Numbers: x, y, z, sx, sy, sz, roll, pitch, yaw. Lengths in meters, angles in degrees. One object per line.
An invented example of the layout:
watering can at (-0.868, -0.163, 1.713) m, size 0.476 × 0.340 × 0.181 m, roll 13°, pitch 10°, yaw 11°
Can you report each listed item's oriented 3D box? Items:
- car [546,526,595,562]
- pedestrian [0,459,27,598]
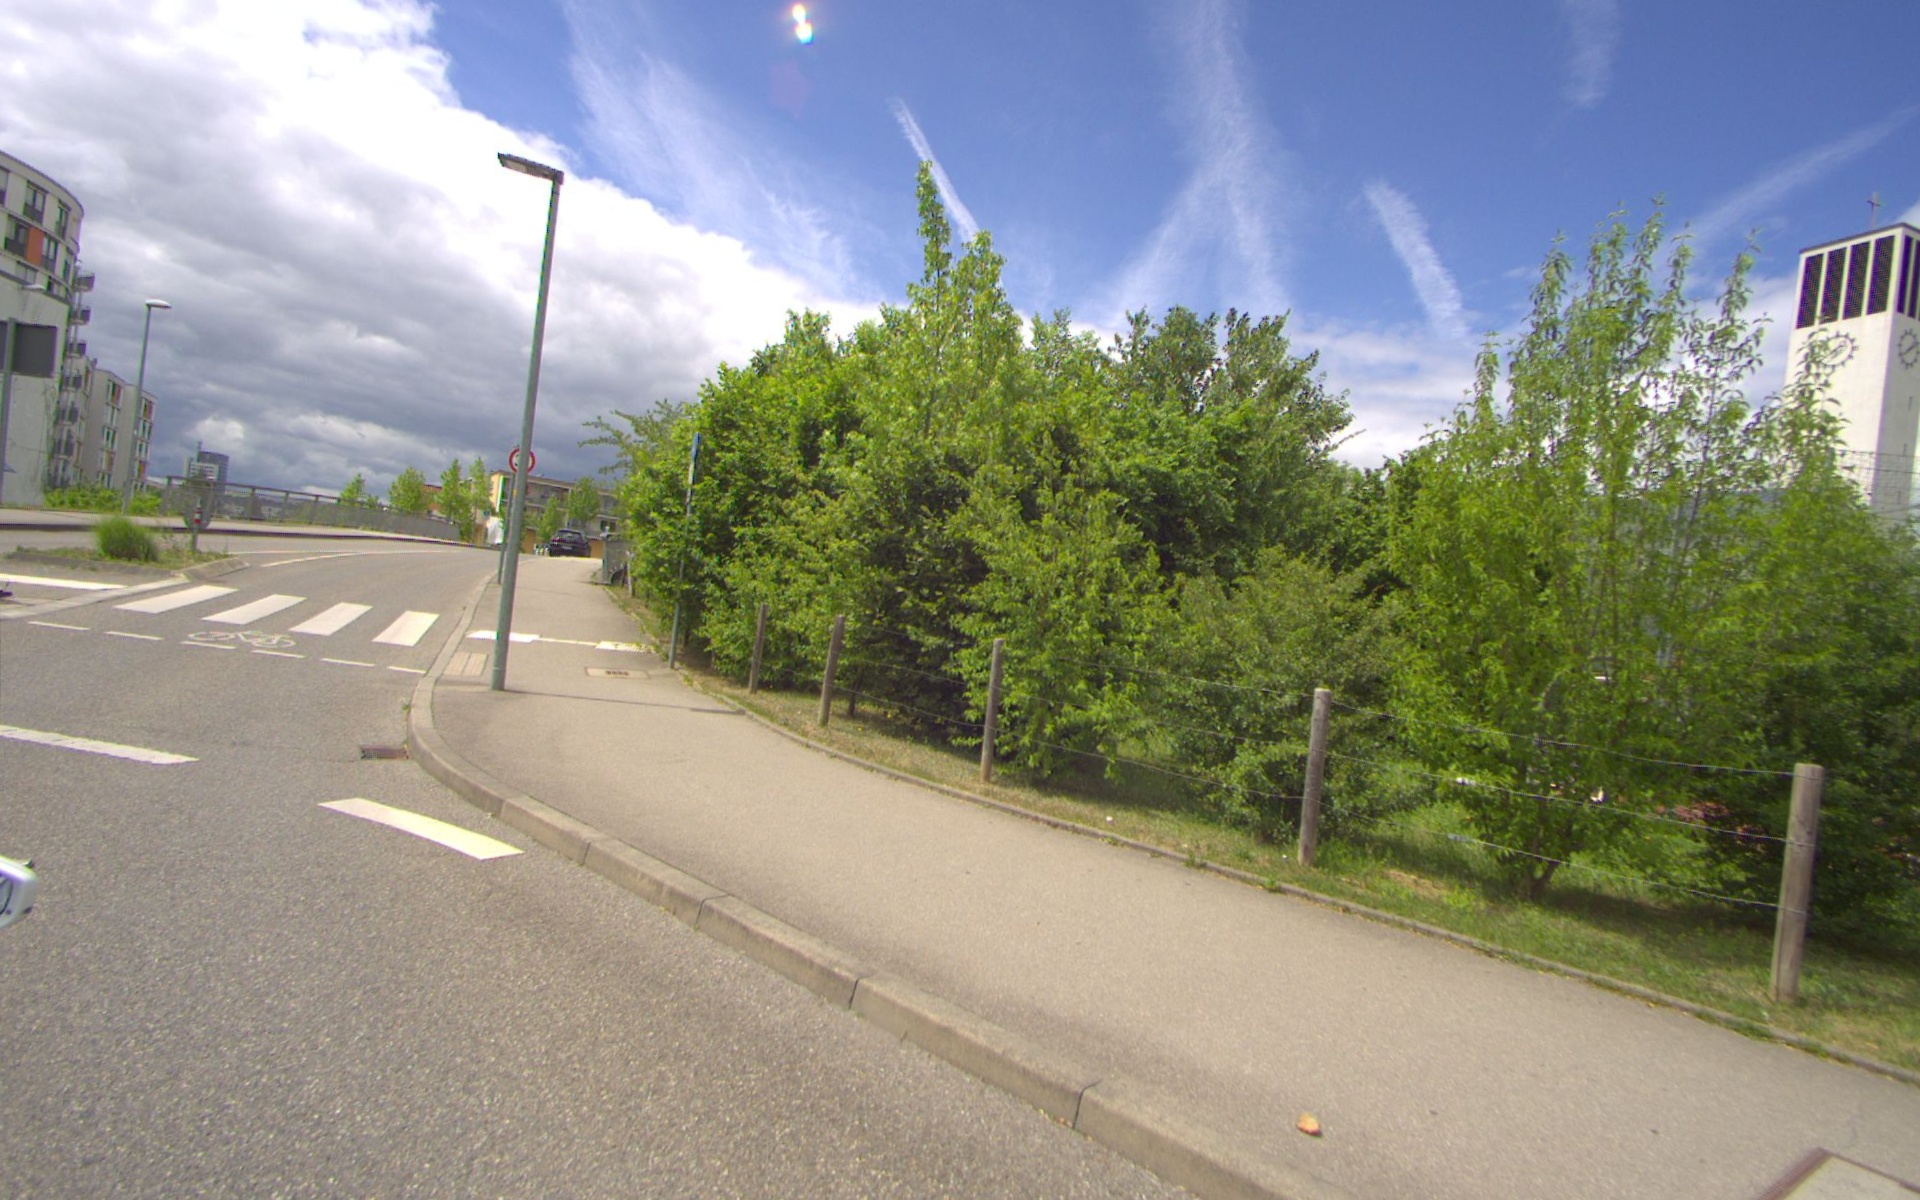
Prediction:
car at (-21.543, -3.050, 55.773) m, size 1.882 × 1.469 × 3.992 m, roll 7°, pitch -2°, yaw -13°
pedestrian at (-11.487, -0.881, 11.495) m, size 1.030 × 1.558 × 0.885 m, roll 8°, pitch -2°, yaw -41°
